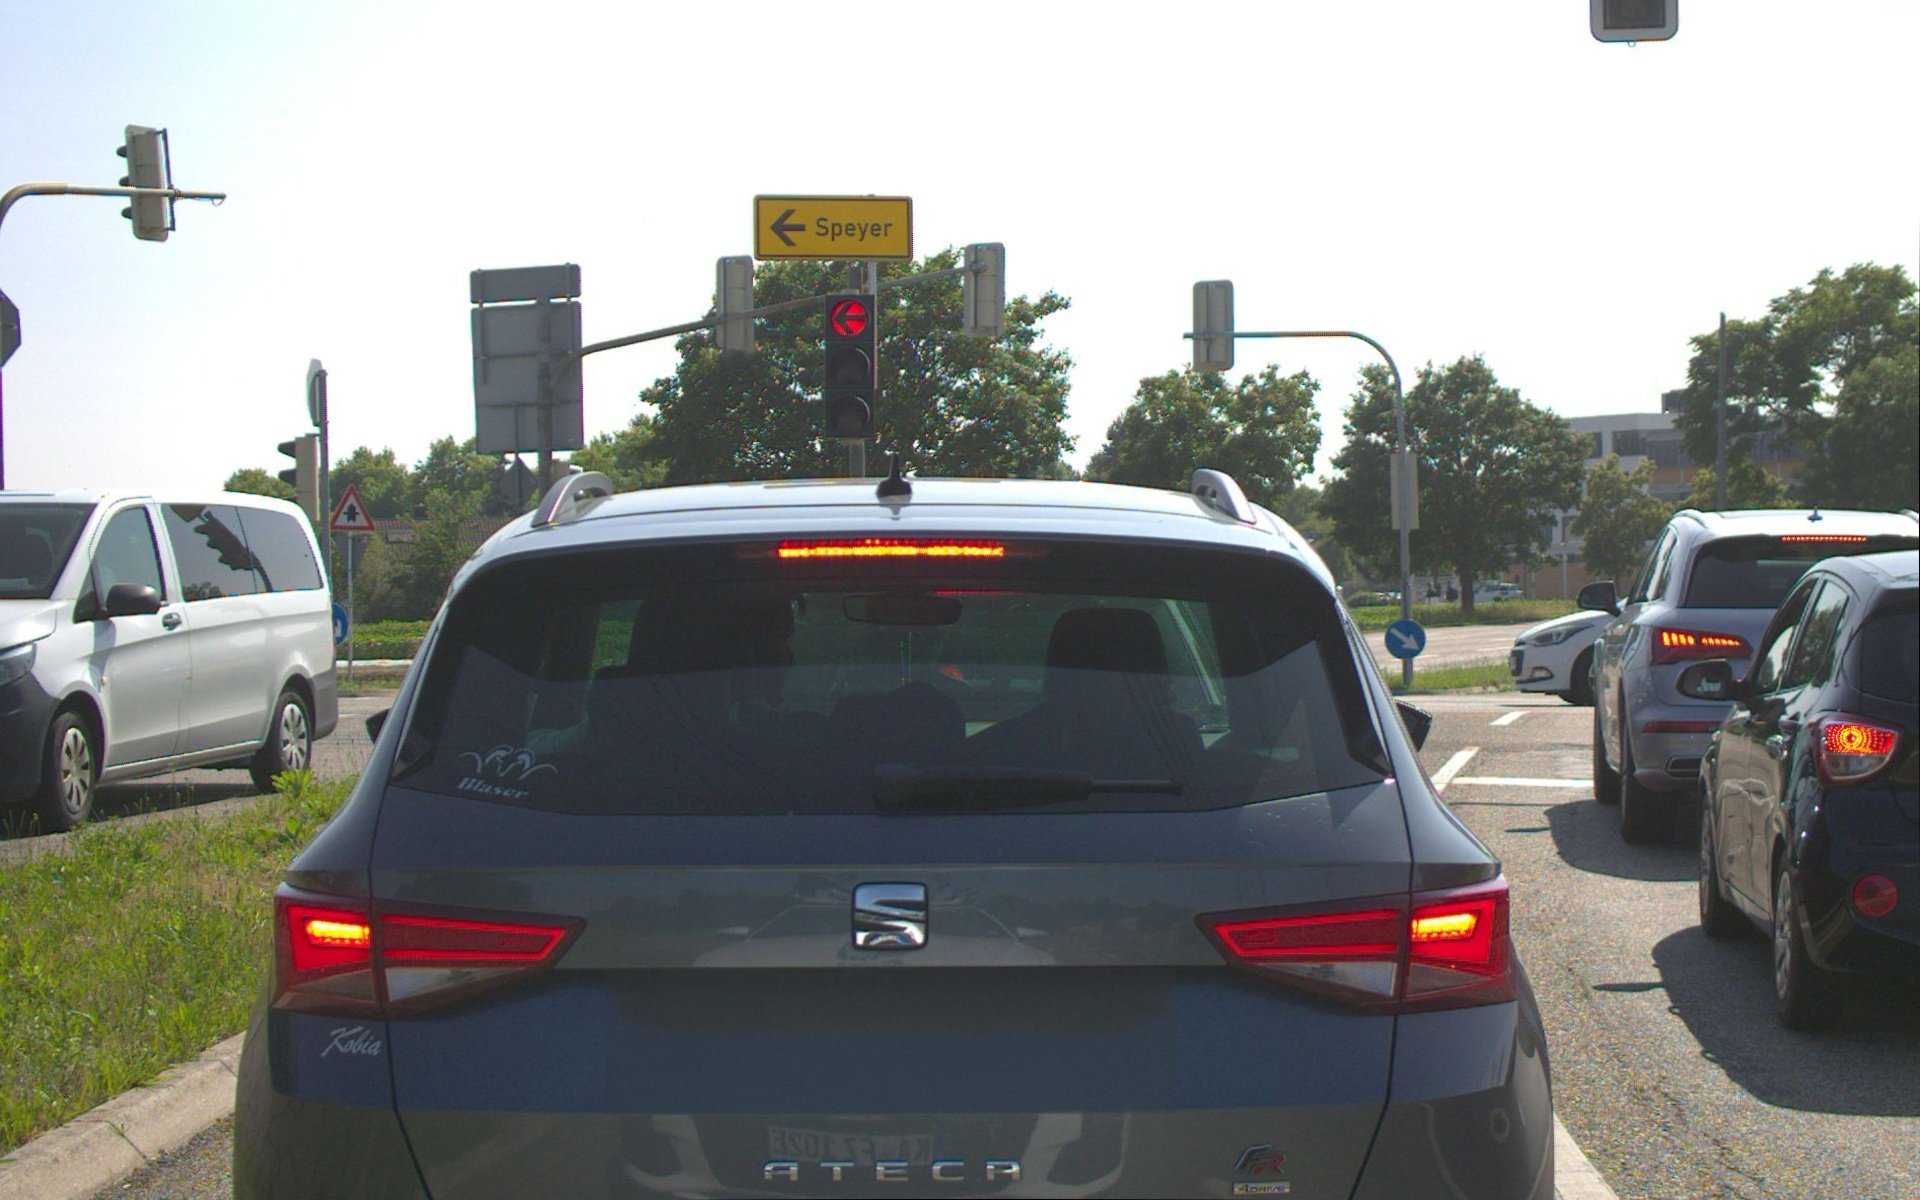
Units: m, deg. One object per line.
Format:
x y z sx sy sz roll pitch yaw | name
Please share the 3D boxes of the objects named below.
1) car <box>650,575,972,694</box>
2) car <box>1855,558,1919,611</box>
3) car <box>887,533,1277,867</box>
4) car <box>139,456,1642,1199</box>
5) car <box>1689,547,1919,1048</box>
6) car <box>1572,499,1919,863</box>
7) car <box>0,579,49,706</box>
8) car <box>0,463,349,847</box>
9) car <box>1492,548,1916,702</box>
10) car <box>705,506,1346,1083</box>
-1.983 0.453 45.747 3.873 1.514 1.805 0 1 26 | car
28.231 -0.463 103.574 1.714 1.543 3.606 1 1 27 | car
0.703 0.434 17.386 1.742 1.479 3.623 1 1 5 | car
-0.104 0.612 5.832 1.742 1.563 3.624 1 1 -1 | car
3.445 0.554 11.521 1.633 1.443 3.294 1 1 6 | car
4.135 0.354 17.830 1.633 1.671 3.749 1 1 6 | car
-14.288 0.568 45.751 3.993 1.645 1.817 0 1 28 | car
-5.298 0.206 19.713 1.994 1.911 4.946 1 1 9 | car
7.399 0.223 34.160 3.903 1.460 1.721 0 1 21 | car
0.194 0.520 11.311 1.742 1.563 3.624 1 1 0 | car
